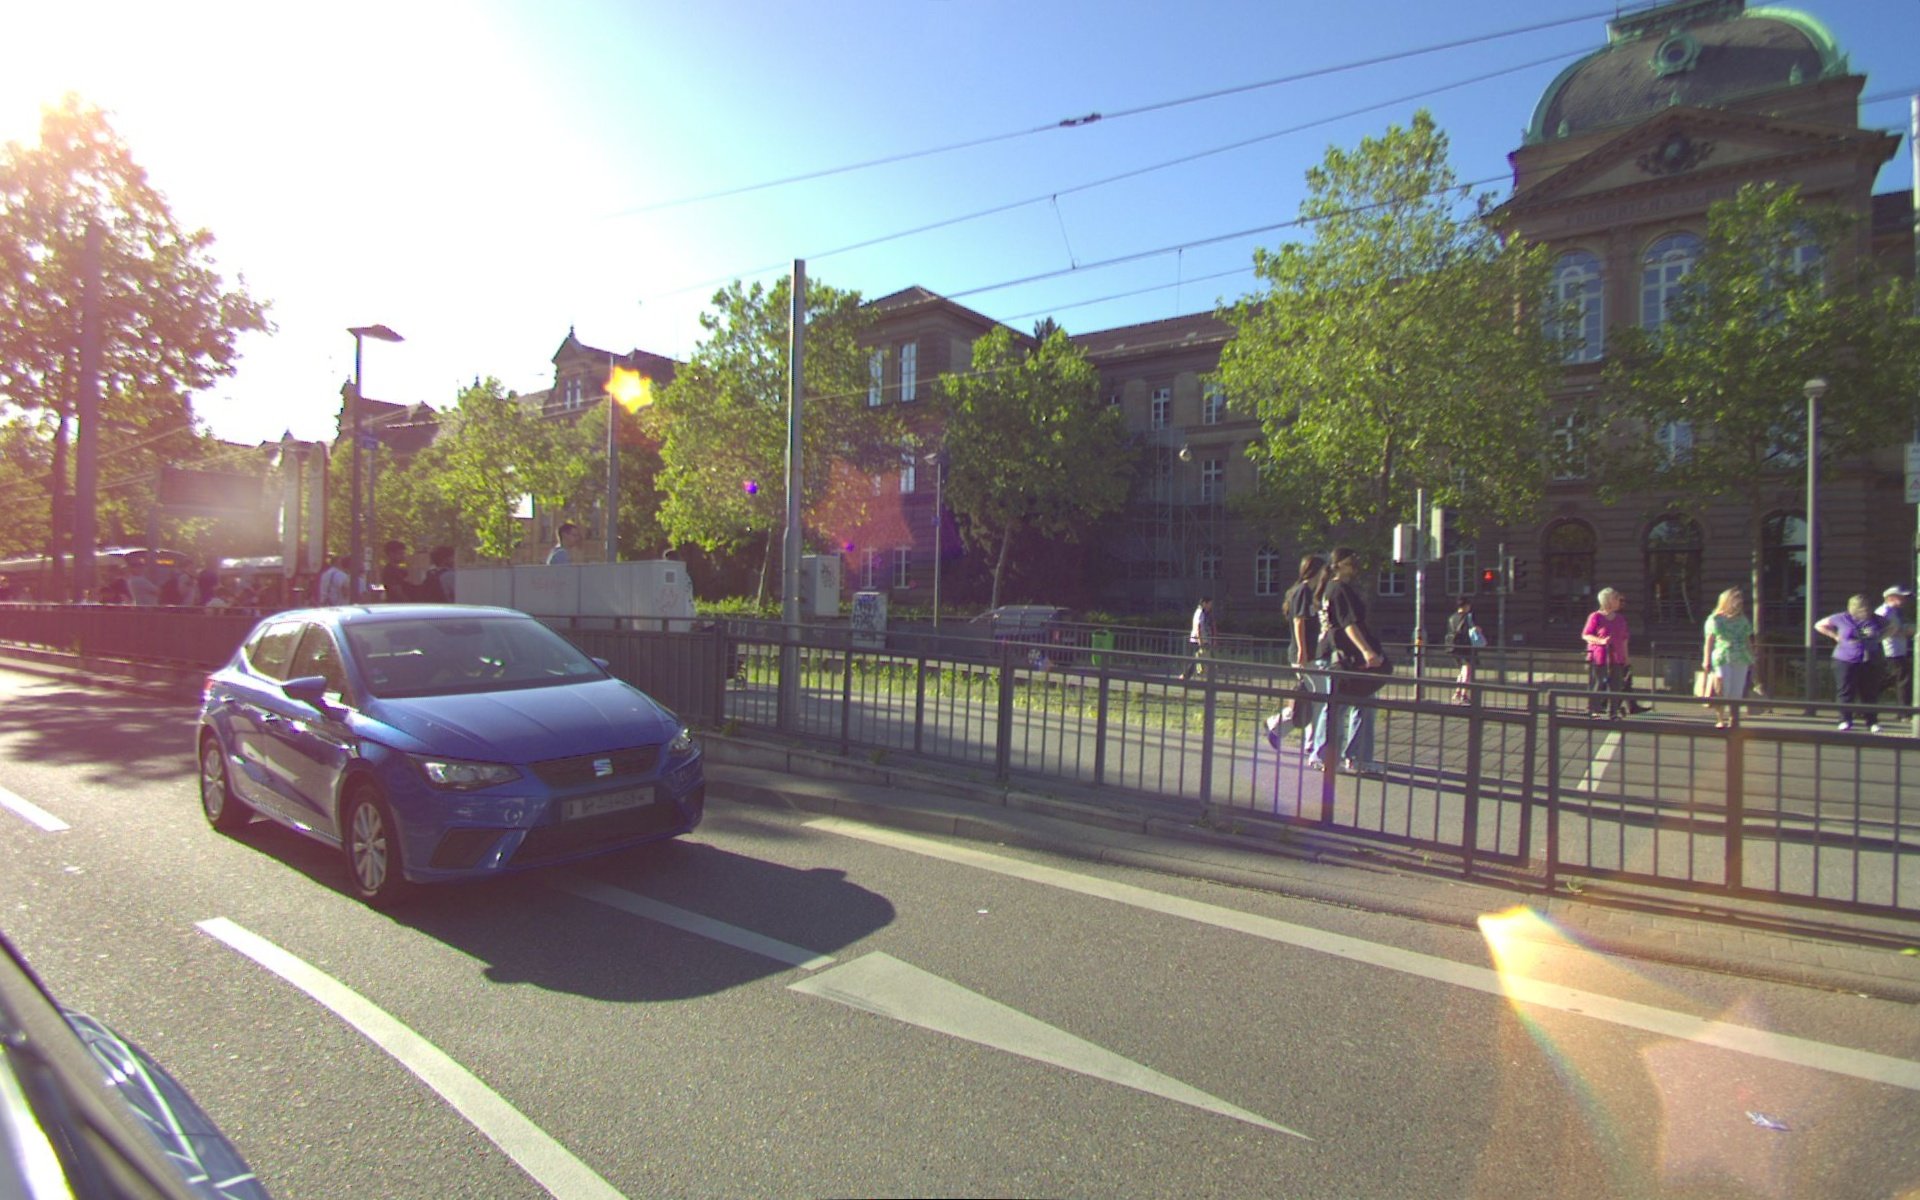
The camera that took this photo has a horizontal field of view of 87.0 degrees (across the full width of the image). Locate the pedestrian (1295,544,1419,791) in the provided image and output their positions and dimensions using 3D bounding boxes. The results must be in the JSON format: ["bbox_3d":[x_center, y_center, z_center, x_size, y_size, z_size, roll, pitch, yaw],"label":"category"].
[{"bbox_3d":[2.958,0.475,7.529,0.745,1.715,0.627,0,-2,32],"label":"pedestrian"}]

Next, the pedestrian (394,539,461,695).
[{"bbox_3d":[-6.141,0.199,11.693,0.530,1.747,0.551,1,-1,-15],"label":"pedestrian"}]

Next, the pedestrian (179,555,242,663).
[{"bbox_3d":[-12.201,0.156,16.471,0.570,1.709,0.654,0,-2,37],"label":"pedestrian"}]

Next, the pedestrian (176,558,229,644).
[{"bbox_3d":[-14.974,0.029,20.012,0.621,1.662,0.614,0,-2,32],"label":"pedestrian"}]

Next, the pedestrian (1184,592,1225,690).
[{"bbox_3d":[4.435,0.738,18.382,0.544,1.741,0.519,0,-1,40],"label":"pedestrian"}]

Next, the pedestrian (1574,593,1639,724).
[{"bbox_3d":[8.498,0.746,13.318,0.707,1.662,0.626,0,-1,32],"label":"pedestrian"}]

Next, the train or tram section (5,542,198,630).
[{"bbox_3d":[-39.712,-0.552,46.345,18.182,3.460,2.823,0,0,37],"label":"train or tram section"}]

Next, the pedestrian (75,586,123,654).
[{"bbox_3d":[-16.750,0.387,19.698,0.602,1.309,0.529,0,-2,33],"label":"pedestrian"}]

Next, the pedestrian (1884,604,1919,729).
[{"bbox_3d":[12.417,0.844,12.977,0.779,1.573,0.701,0,-1,39],"label":"pedestrian"}]

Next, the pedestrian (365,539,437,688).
[{"bbox_3d":[-6.782,0.164,12.286,0.538,1.747,0.543,0,-2,32],"label":"pedestrian"}]

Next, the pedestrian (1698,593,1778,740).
[{"bbox_3d":[9.329,0.774,12.161,0.703,1.692,0.613,0,-1,32],"label":"pedestrian"}]

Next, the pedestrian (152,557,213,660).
[{"bbox_3d":[-13.141,0.147,17.099,0.570,1.709,0.654,0,-2,37],"label":"pedestrian"}]

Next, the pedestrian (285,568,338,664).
[{"bbox_3d":[-10.516,0.262,16.410,0.530,1.530,0.540,0,-2,36],"label":"pedestrian"}]

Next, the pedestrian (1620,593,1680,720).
[{"bbox_3d":[9.848,0.789,14.445,0.632,1.756,0.700,0,-1,41],"label":"pedestrian"}]

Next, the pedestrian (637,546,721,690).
[{"bbox_3d":[-3.328,0.206,12.001,0.639,1.631,0.635,3,0,33],"label":"pedestrian"}]

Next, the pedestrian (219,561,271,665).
[{"bbox_3d":[-12.179,0.219,17.242,0.620,1.721,0.510,0,-2,36],"label":"pedestrian"}]

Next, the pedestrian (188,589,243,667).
[{"bbox_3d":[-11.687,0.432,15.889,0.530,1.201,0.540,0,-2,36],"label":"pedestrian"}]

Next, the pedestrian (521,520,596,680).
[{"bbox_3d":[-4.546,0.005,11.466,0.538,1.747,0.543,0,-2,32],"label":"pedestrian"}]

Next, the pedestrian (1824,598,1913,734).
[{"bbox_3d":[11.046,0.775,12.326,0.703,1.594,0.613,0,-1,32],"label":"pedestrian"}]

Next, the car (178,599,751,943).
[{"bbox_3d":[-3.161,0.712,6.118,3.872,1.426,1.685,0,0,40],"label":"car"}]

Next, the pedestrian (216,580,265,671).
[{"bbox_3d":[-10.669,0.376,15.008,0.506,1.326,0.412,0,-2,35],"label":"pedestrian"}]

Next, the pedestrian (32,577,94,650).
[{"bbox_3d":[-19.074,0.292,21.519,0.749,1.521,0.769,0,-2,33],"label":"pedestrian"}]

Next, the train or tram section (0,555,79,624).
[{"bbox_3d":[-54.269,-0.540,57.326,18.244,3.460,2.844,0,0,37],"label":"train or tram section"}]

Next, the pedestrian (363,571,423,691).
[{"bbox_3d":[-8.690,0.469,15.519,0.610,1.783,0.549,0,-2,32],"label":"pedestrian"}]

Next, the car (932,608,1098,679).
[{"bbox_3d":[1.487,1.129,28.052,4.221,1.674,1.976,1,2,36],"label":"car"}]

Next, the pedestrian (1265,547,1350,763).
[{"bbox_3d":[2.900,0.440,8.433,0.544,1.715,0.604,0,-2,32],"label":"pedestrian"}]

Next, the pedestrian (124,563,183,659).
[{"bbox_3d":[-14.086,0.197,17.671,0.570,1.646,0.654,0,-2,37],"label":"pedestrian"}]

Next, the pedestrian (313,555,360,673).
[{"bbox_3d":[-9.361,0.214,15.200,0.498,1.715,0.613,2,-1,-26],"label":"pedestrian"}]

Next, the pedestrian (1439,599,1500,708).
[{"bbox_3d":[8.107,0.840,16.121,0.625,1.677,0.709,1,-1,5],"label":"pedestrian"}]

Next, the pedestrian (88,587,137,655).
[{"bbox_3d":[-15.909,0.393,19.008,0.603,1.256,0.529,0,-2,34],"label":"pedestrian"}]

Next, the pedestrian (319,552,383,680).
[{"bbox_3d":[-8.363,0.217,13.900,0.610,1.715,0.501,0,-2,33],"label":"pedestrian"}]

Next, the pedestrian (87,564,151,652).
[{"bbox_3d":[-17.221,0.171,20.726,0.721,1.766,0.769,0,-2,33],"label":"pedestrian"}]
